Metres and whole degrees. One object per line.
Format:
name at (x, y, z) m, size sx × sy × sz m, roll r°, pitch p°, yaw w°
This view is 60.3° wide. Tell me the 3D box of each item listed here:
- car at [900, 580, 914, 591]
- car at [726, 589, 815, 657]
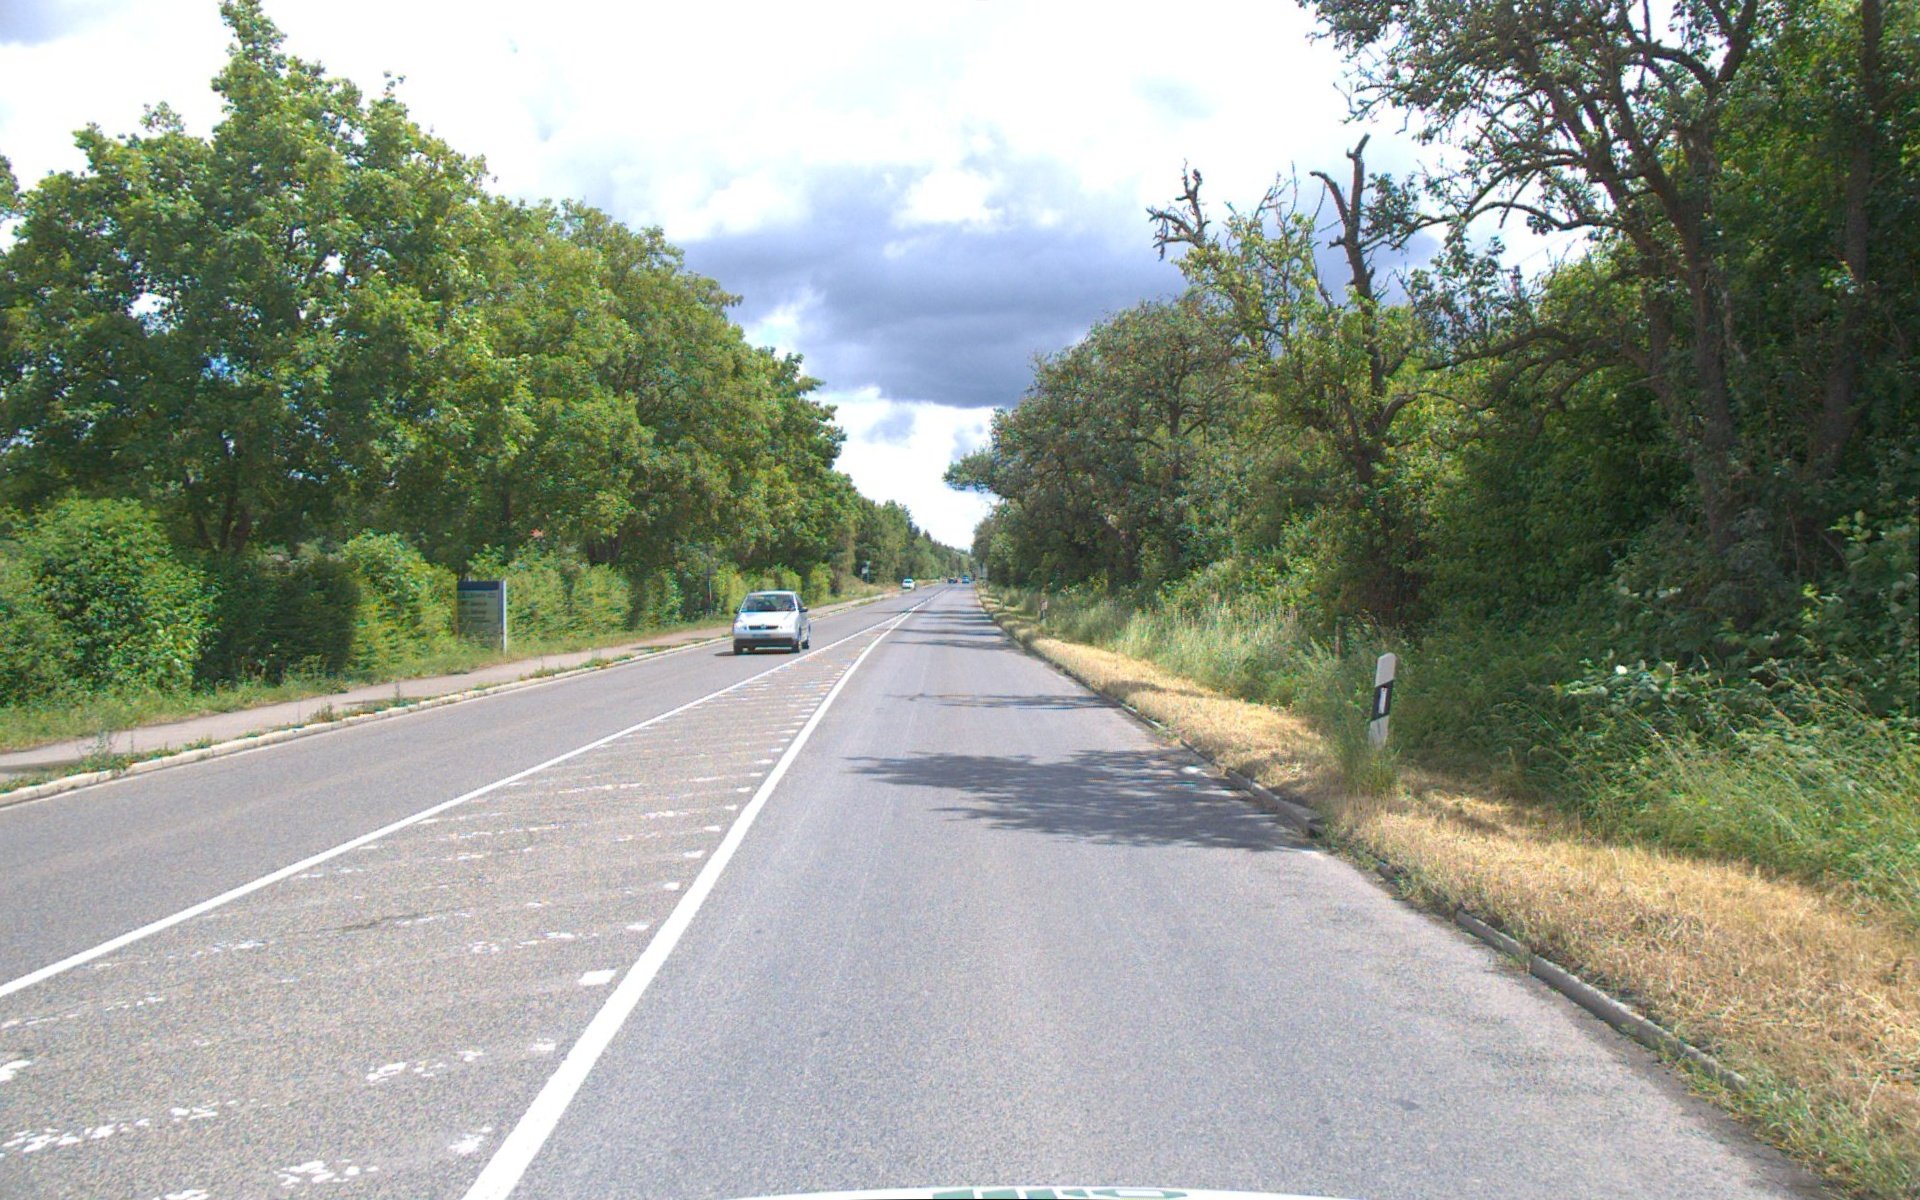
car at (-7.773, -2.127, 242.238) m, size 1.761 × 1.570 × 3.955 m, roll -1°, pitch -1°, yaw 1°
car at (-4.504, 0.518, 39.726) m, size 1.626 × 1.457 × 3.693 m, roll -2°, pitch 1°, yaw 0°
